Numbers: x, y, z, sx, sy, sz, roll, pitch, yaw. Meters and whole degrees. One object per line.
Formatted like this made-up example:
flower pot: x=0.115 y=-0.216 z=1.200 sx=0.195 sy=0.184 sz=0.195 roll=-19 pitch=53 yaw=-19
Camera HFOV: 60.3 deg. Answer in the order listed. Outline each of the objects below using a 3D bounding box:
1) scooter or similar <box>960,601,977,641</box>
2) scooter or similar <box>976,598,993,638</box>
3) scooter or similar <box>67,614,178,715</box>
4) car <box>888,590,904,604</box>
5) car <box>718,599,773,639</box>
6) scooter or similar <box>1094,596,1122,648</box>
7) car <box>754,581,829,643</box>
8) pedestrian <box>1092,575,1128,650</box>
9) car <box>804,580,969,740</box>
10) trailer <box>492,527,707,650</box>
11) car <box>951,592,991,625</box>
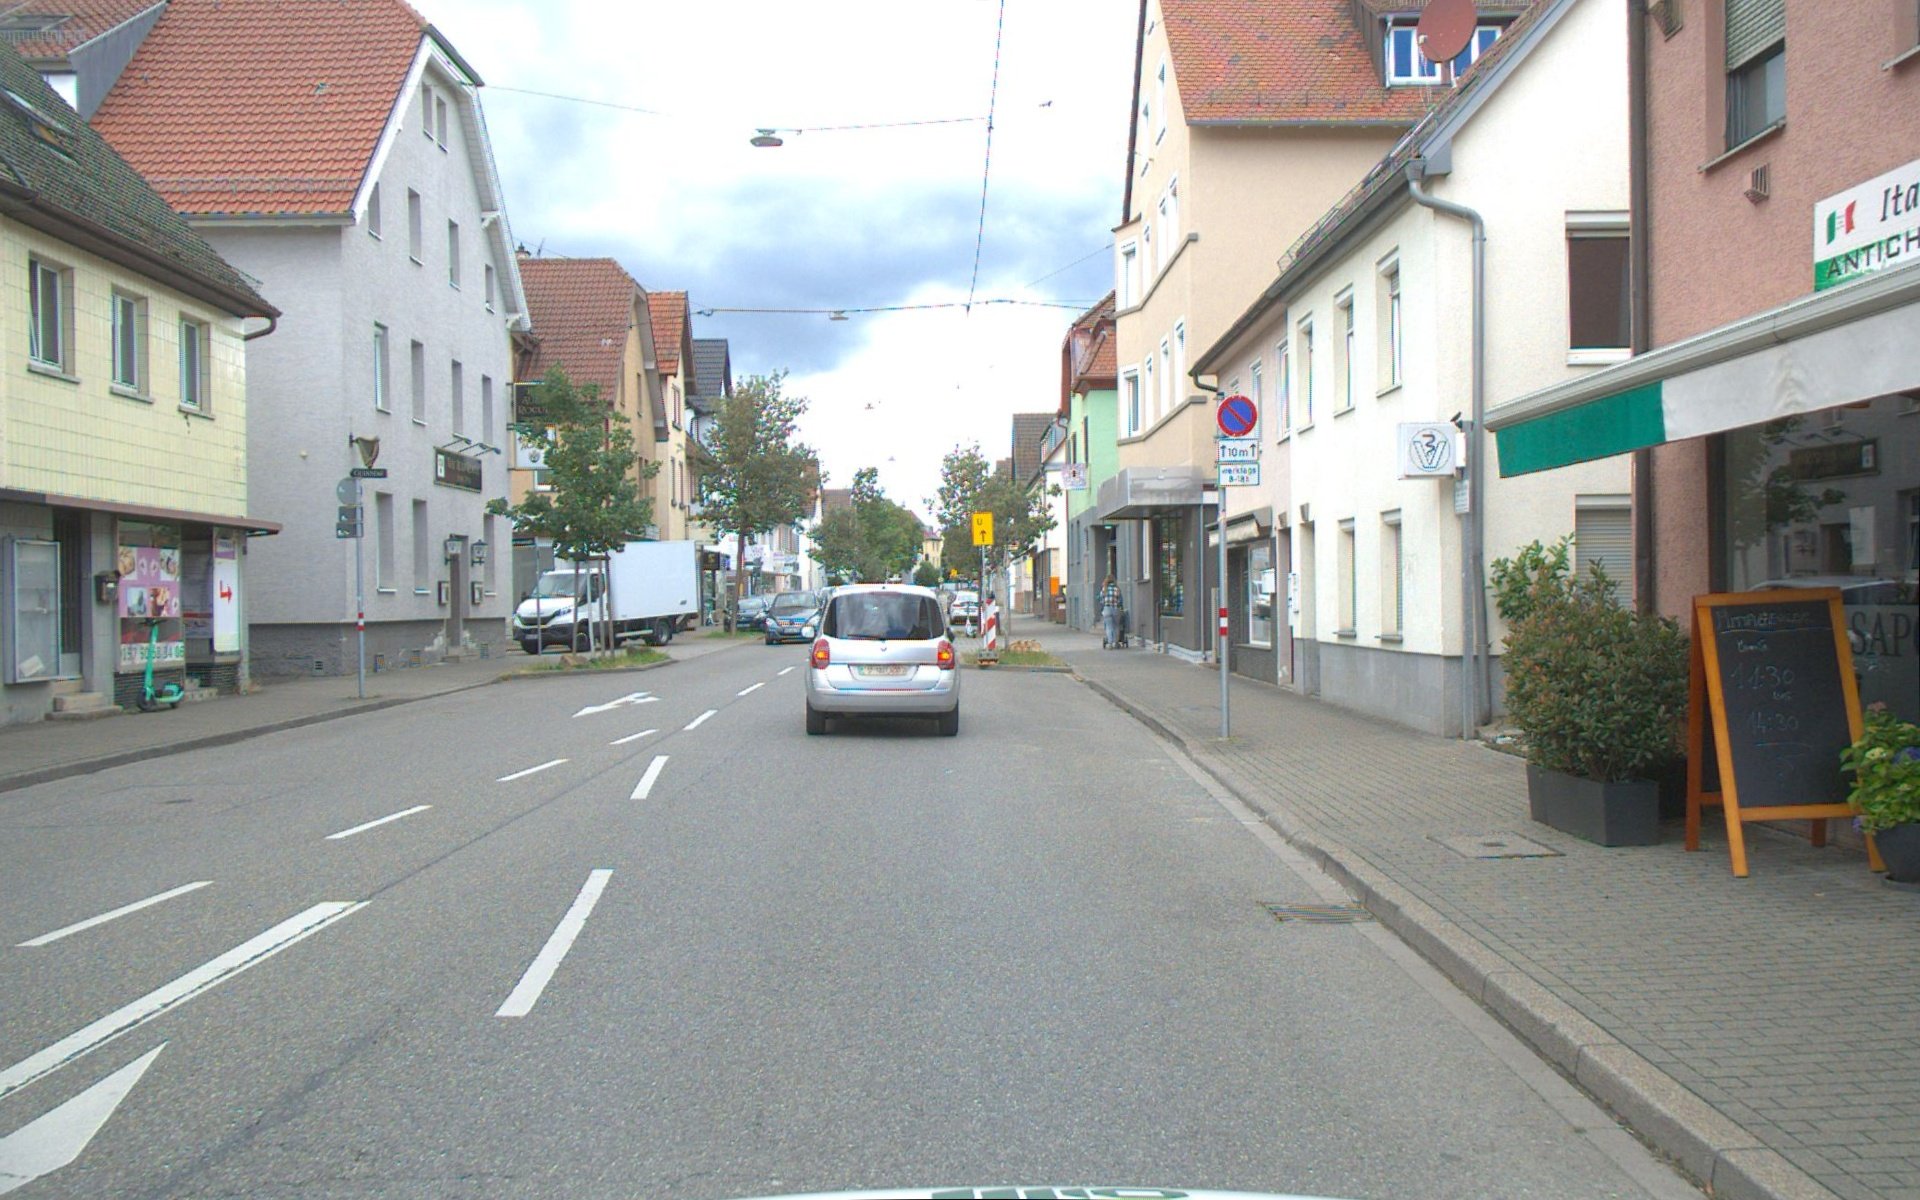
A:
scooter or similar: x=0.271 y=0.672 z=54.161 sx=0.492 sy=1.257 sz=1.942 roll=1 pitch=0 yaw=-1
scooter or similar: x=0.795 y=0.578 z=54.179 sx=0.492 sy=1.257 sz=1.942 roll=1 pitch=0 yaw=-1
scooter or similar: x=-10.444 y=0.778 z=20.681 sx=0.517 sy=1.190 sz=1.721 roll=1 pitch=0 yaw=-1
car: x=-8.271 y=-0.376 z=214.920 sx=1.862 sy=1.768 sz=4.365 roll=-2 pitch=0 yaw=0
car: x=-8.186 y=0.705 z=63.513 sx=1.648 sy=1.449 sz=3.930 roll=-2 pitch=0 yaw=-1
scooter or similar: x=3.582 y=0.527 z=40.050 sx=0.577 sy=1.254 sz=0.891 roll=1 pitch=0 yaw=-1
car: x=-5.213 y=0.365 z=51.653 sx=1.953 sy=1.827 sz=4.276 roll=-1 pitch=0 yaw=-1
pedestrian: x=3.544 y=0.286 z=39.120 sx=0.735 sy=1.750 sz=0.900 roll=1 pitch=0 yaw=-1
car: x=-0.742 y=0.610 z=18.792 sx=1.648 sy=1.593 sz=3.993 roll=1 pitch=0 yaw=0
trailer: x=-10.261 y=-0.308 z=47.916 sx=2.452 sy=3.275 sz=7.133 roll=1 pitch=0 yaw=22
car: x=0.497 y=0.383 z=77.006 sx=1.793 sy=1.471 sz=4.331 roll=1 pitch=0 yaw=0
